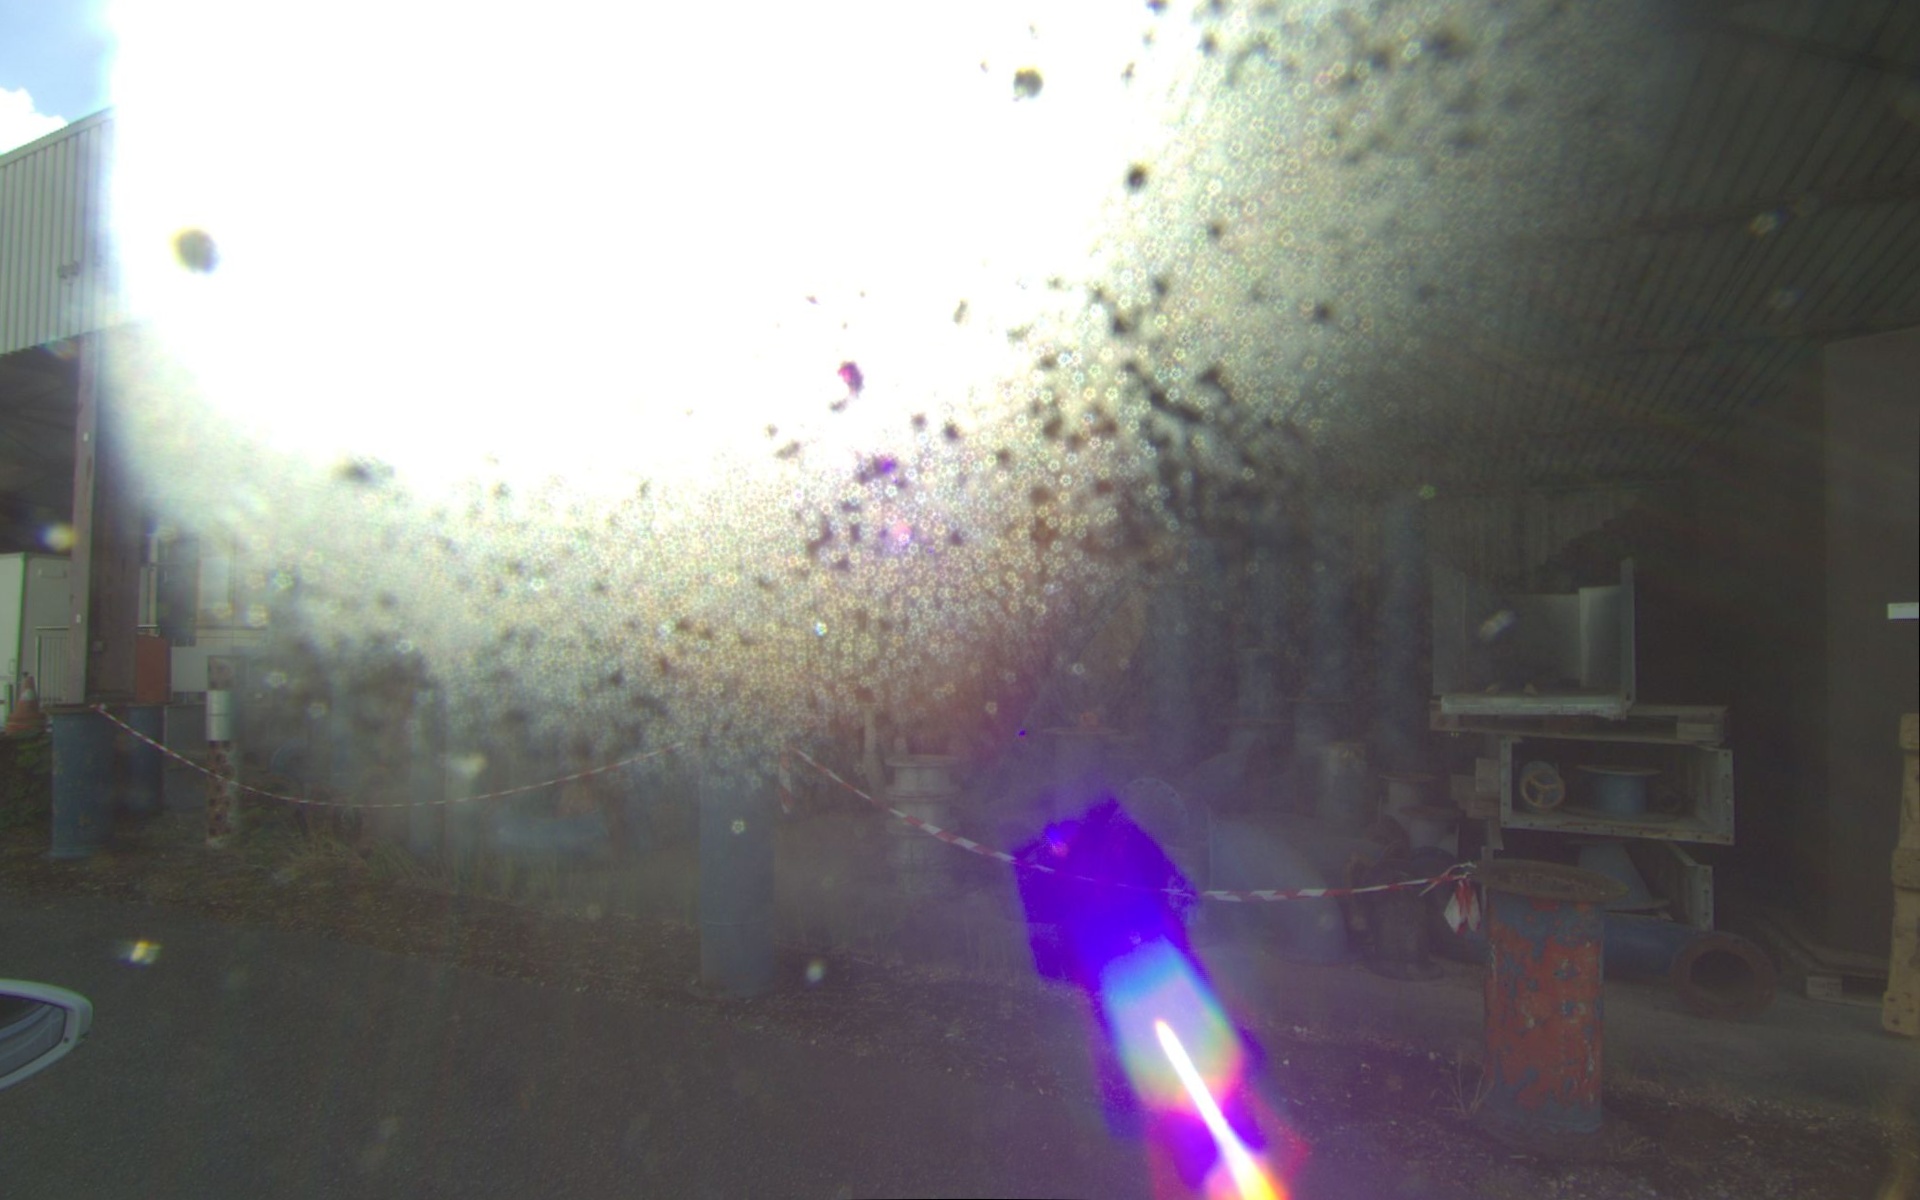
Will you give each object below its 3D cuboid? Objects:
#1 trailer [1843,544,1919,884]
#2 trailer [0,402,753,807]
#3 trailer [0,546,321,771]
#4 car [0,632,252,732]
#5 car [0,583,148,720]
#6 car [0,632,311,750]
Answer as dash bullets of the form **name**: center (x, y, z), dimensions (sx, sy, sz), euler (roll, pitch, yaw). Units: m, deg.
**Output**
- **trailer**: center (6.114, 0.631, 4.580), dimensions (2.015, 2.022, 4.815), euler (-1, -2, 28)
- **trailer**: center (-6.996, 0.205, 13.138), dimensions (2.632, 3.337, 10.294), euler (0, -2, 26)
- **trailer**: center (-10.358, 0.654, 11.832), dimensions (1.661, 2.365, 4.542), euler (0, -2, 26)
- **car**: center (-14.342, 1.265, 16.415), dimensions (1.820, 1.472, 4.109), euler (-1, -2, 25)
- **car**: center (-17.492, 0.879, 17.121), dimensions (2.050, 2.326, 5.220), euler (-1, -3, 25)
- **car**: center (-12.016, 1.191, 14.298), dimensions (1.833, 1.451, 4.349), euler (-1, -2, 22)
